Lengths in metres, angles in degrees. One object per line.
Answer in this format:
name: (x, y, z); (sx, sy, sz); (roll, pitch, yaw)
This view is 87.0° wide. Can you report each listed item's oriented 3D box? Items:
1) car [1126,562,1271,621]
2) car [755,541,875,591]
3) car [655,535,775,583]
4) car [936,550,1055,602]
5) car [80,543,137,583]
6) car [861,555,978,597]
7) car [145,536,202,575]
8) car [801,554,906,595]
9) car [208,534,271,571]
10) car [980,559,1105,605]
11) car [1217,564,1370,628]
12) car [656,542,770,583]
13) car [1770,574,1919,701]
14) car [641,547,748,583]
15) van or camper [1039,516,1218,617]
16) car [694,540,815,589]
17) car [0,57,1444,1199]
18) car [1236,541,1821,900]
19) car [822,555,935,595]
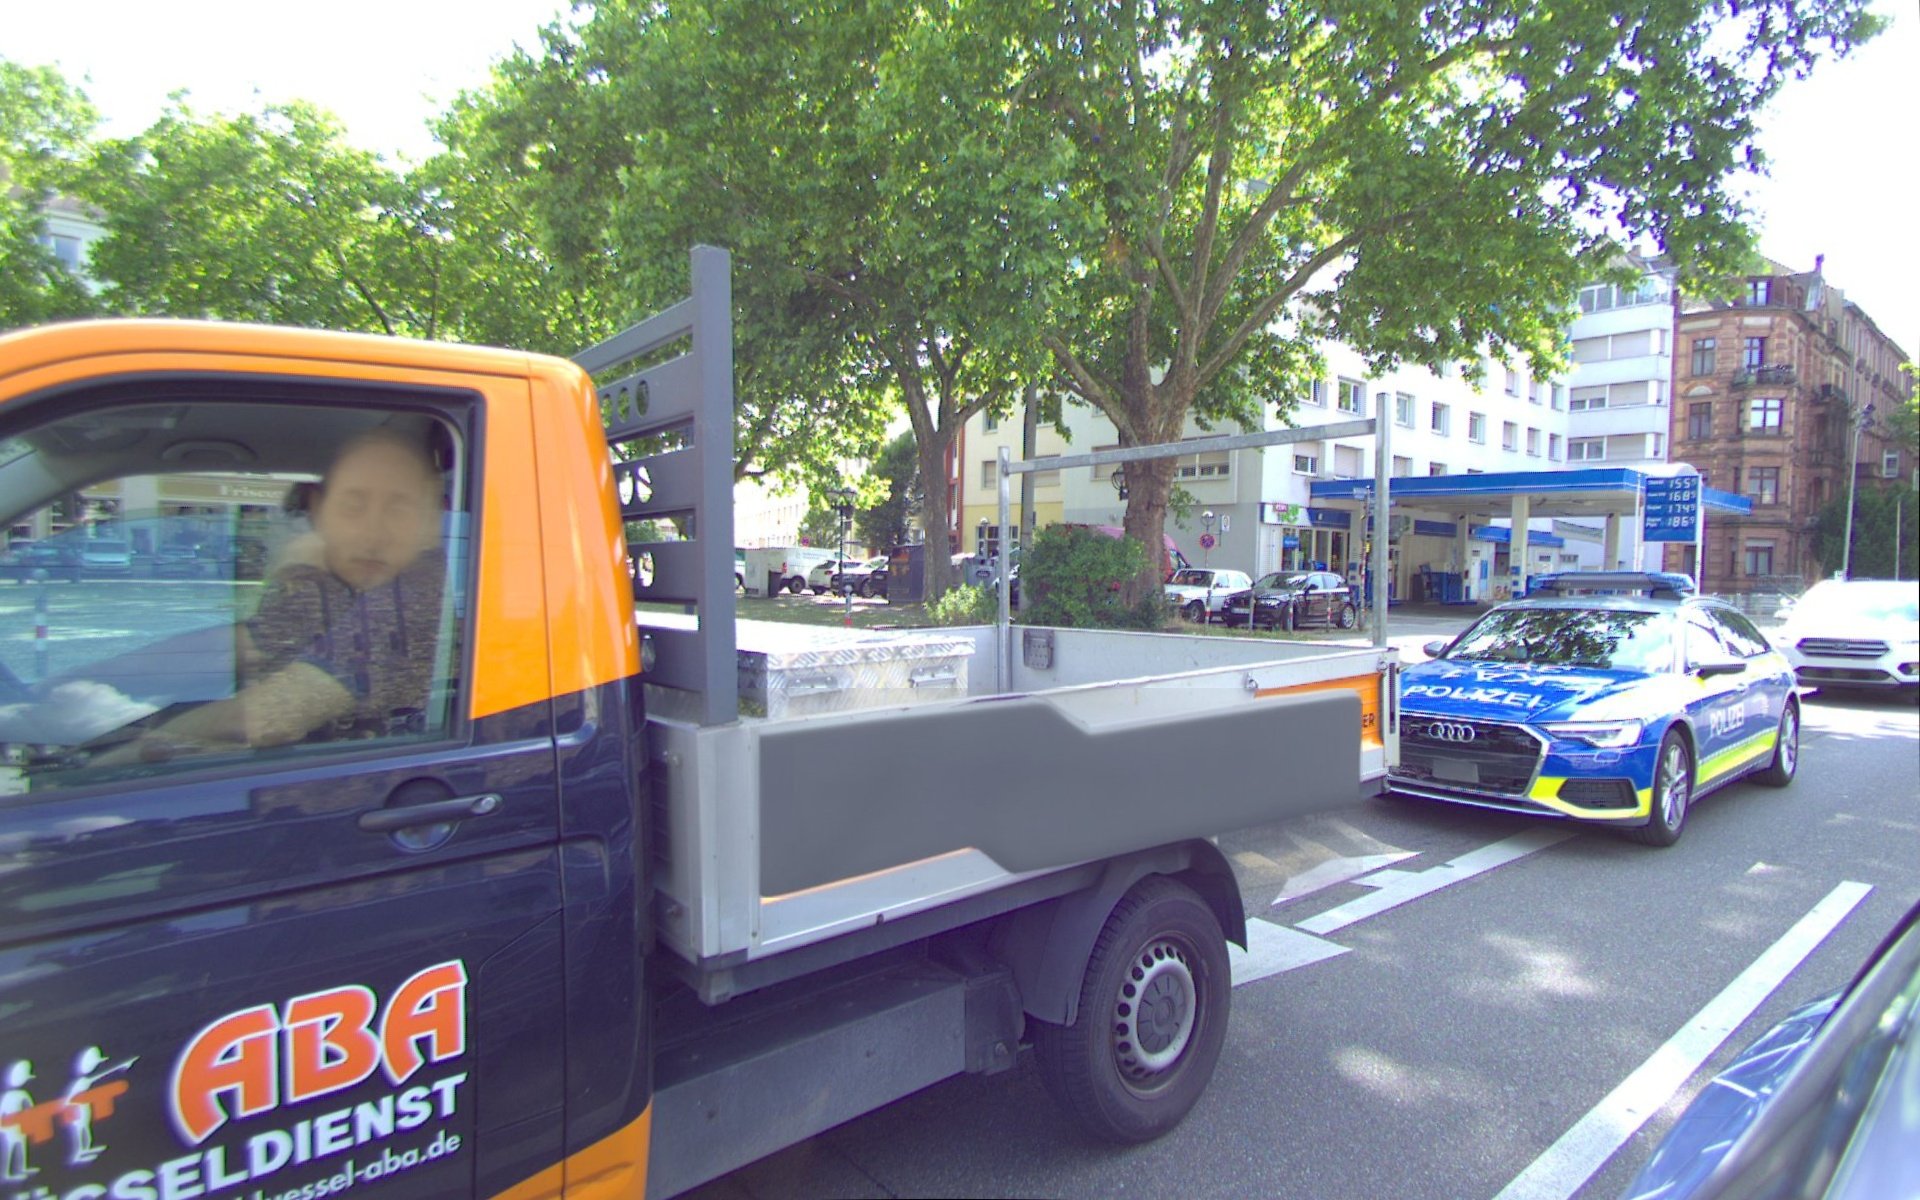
car: (6.332, -0.263, 26.656); (3.930, 1.428, 1.756); (-1, 2, -41)
car: (-5.952, -1.379, 41.941); (4.601, 1.959, 1.997); (-1, 0, -41)
car: (-11.492, -1.870, 47.680); (5.164, 2.113, 1.996); (-1, 0, -42)
car: (1.200, -0.790, 33.258); (3.930, 1.624, 1.528); (-1, 1, -41)
car: (-37.990, -1.662, 45.119); (1.820, 1.680, 4.077); (0, 3, -42)
car: (-1.397, -0.826, 35.784); (3.930, 1.381, 1.765); (-1, 0, -41)
car: (-36.246, -2.057, 46.623); (1.820, 1.680, 4.077); (0, 3, -42)
car: (-4.203, -0.982, 40.153); (3.930, 1.539, 1.661); (-1, 0, -41)
car: (-34.435, -2.287, 48.314); (2.047, 1.680, 4.077); (0, 3, -42)
car: (2.556, -0.542, 30.904); (3.930, 1.310, 1.476); (-1, 0, -41)
car: (8.155, -0.130, 24.627); (3.930, 1.428, 1.756); (-1, 2, -41)
car: (-12.199, -1.820, 50.211); (5.165, 1.896, 1.996); (-1, 0, -43)
car: (13.640, 0.475, 14.935); (4.596, 1.627, 1.763); (0, 0, -40)
car: (-13.816, -1.775, 52.855); (5.165, 1.773, 1.899); (-1, 0, -43)
van or camper: (4.930, -0.919, 29.176); (5.252, 2.675, 2.107); (-1, 0, -38)
car: (-9.291, -1.569, 45.981); (5.167, 2.113, 1.995); (-1, 0, -45)
car: (-1.062, 0.337, 2.493); (5.242, 2.010, 2.079); (-3, 4, -40)
car: (4.212, 0.511, 7.046); (5.062, 1.673, 1.871); (-1, 1, -40)
car: (-3.011, -0.908, 37.684); (3.930, 1.381, 1.765); (-1, 0, -41)
